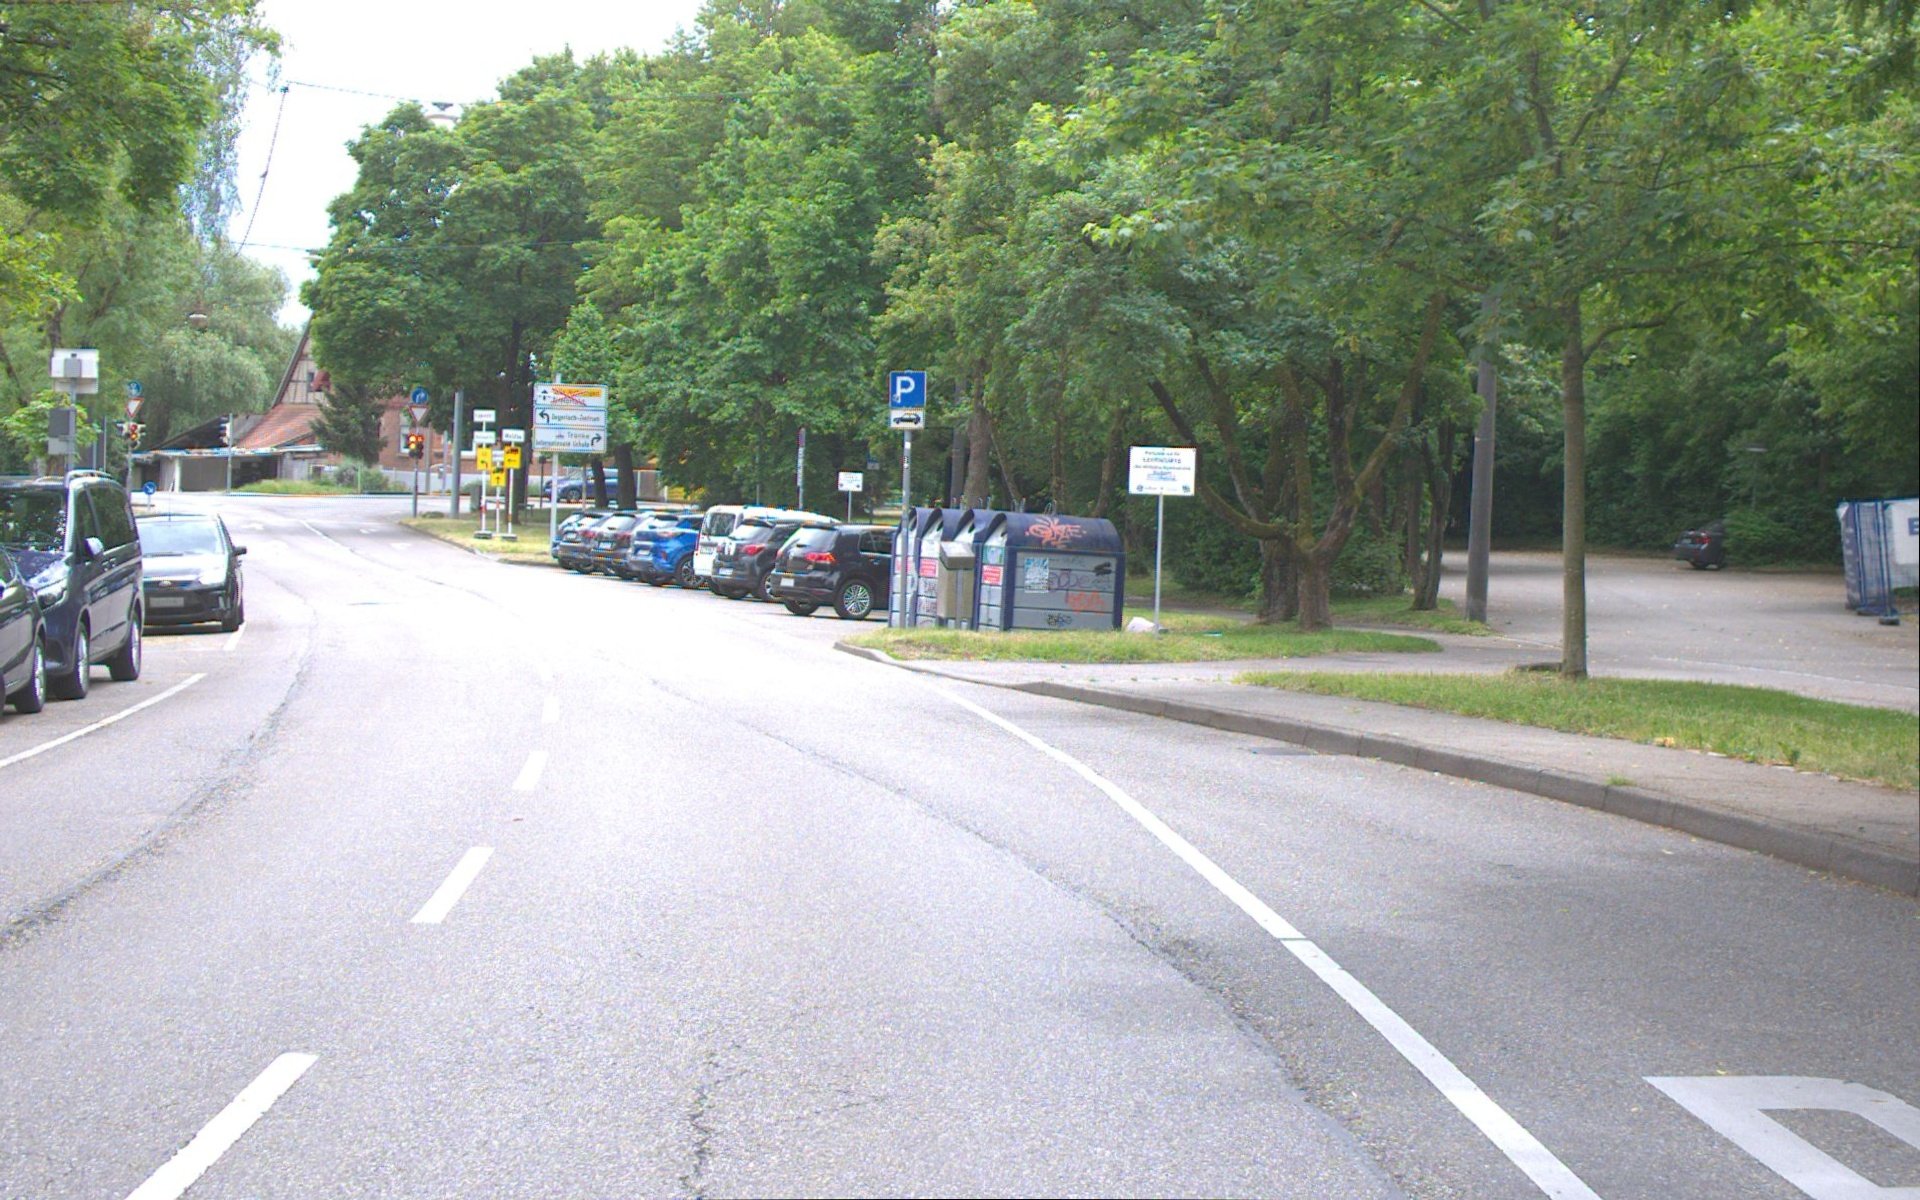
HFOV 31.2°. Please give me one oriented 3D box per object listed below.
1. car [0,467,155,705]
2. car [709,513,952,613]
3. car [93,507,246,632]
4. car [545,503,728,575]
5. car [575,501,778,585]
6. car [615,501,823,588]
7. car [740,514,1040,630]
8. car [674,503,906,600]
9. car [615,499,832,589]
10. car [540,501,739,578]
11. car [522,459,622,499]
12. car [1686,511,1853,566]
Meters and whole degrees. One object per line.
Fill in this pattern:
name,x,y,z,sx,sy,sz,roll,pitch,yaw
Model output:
car,-8.310,-0.185,30.090,1.857,1.902,5.084,1,1,-7
car,-2.272,-0.651,60.630,3.818,1.463,1.747,4,1,-32
car,-10.637,-0.448,46.496,1.804,1.557,4.268,-2,2,-11
car,-7.565,-1.420,80.416,3.818,1.420,1.746,4,0,-32
car,-5.984,-1.203,72.631,3.818,1.523,1.746,4,0,-32
car,-4.952,-1.144,70.813,3.818,1.523,1.746,4,0,-32
car,-1.064,-0.427,52.443,3.986,1.409,2.058,4,2,-32
car,-3.129,-0.894,63.327,3.819,1.714,1.878,0,1,-31
car,-4.660,-1.104,67.883,3.818,1.523,1.746,4,0,-32
car,-7.054,-1.321,75.629,3.873,1.421,1.830,4,0,-32
car,-17.126,-5.355,151.847,3.845,1.641,2.000,0,3,-33
car,21.905,-1.677,93.106,3.986,1.405,1.800,1,1,-6
